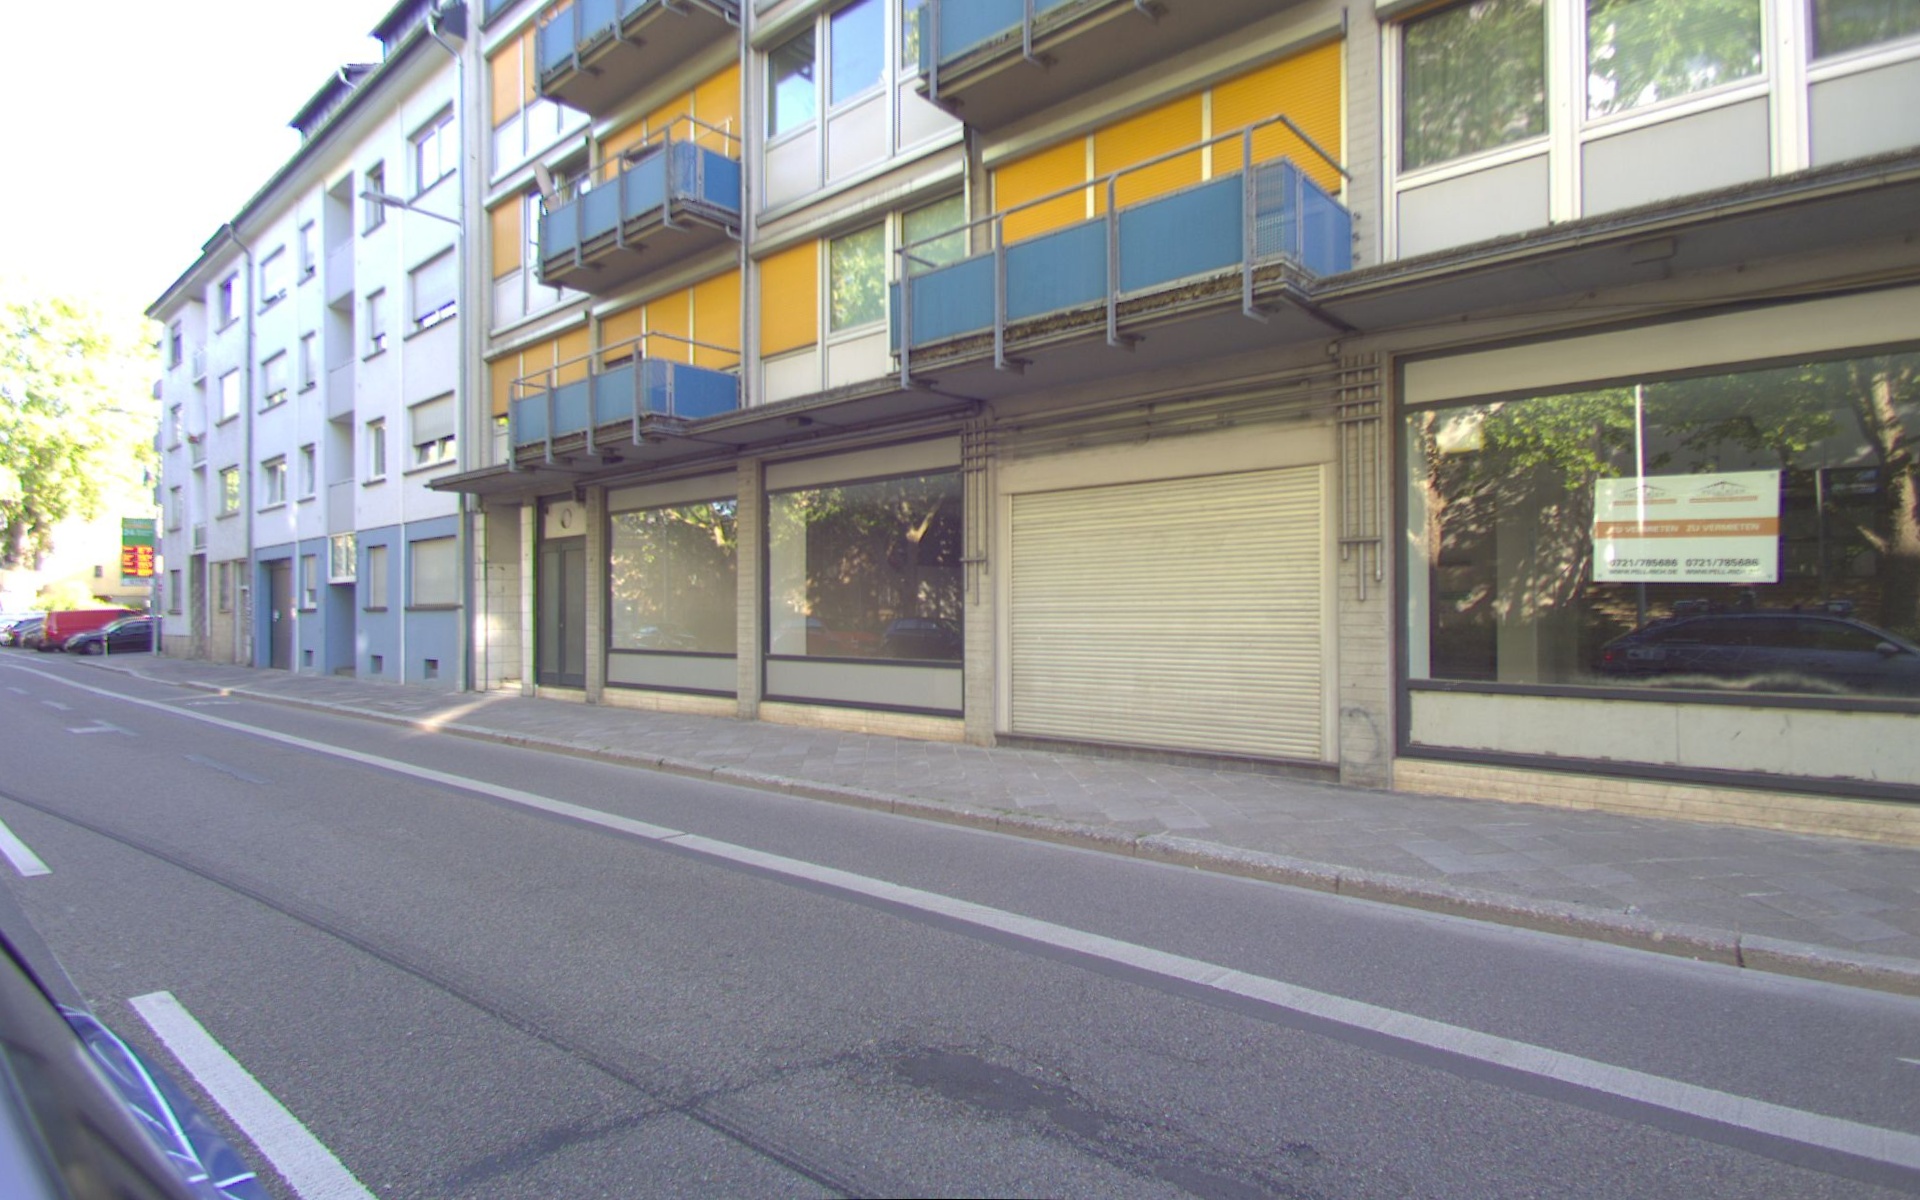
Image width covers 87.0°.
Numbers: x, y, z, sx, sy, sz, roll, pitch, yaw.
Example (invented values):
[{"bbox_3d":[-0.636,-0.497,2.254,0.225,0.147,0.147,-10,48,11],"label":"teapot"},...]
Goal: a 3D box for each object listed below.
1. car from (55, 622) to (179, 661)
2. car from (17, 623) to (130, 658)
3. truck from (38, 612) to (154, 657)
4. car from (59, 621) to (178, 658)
[{"bbox_3d":[-36.629,1.766,44.020,1.761,1.468,3.944,-1,0,42],"label":"car"},{"bbox_3d":[-42.911,1.907,49.047,1.761,1.514,3.944,-1,0,42],"label":"car"},{"bbox_3d":[-40.500,1.575,47.499,1.761,1.951,3.944,-1,0,42],"label":"truck"},{"bbox_3d":[-38.109,1.762,45.908,1.761,1.514,3.944,-1,0,42],"label":"car"}]
